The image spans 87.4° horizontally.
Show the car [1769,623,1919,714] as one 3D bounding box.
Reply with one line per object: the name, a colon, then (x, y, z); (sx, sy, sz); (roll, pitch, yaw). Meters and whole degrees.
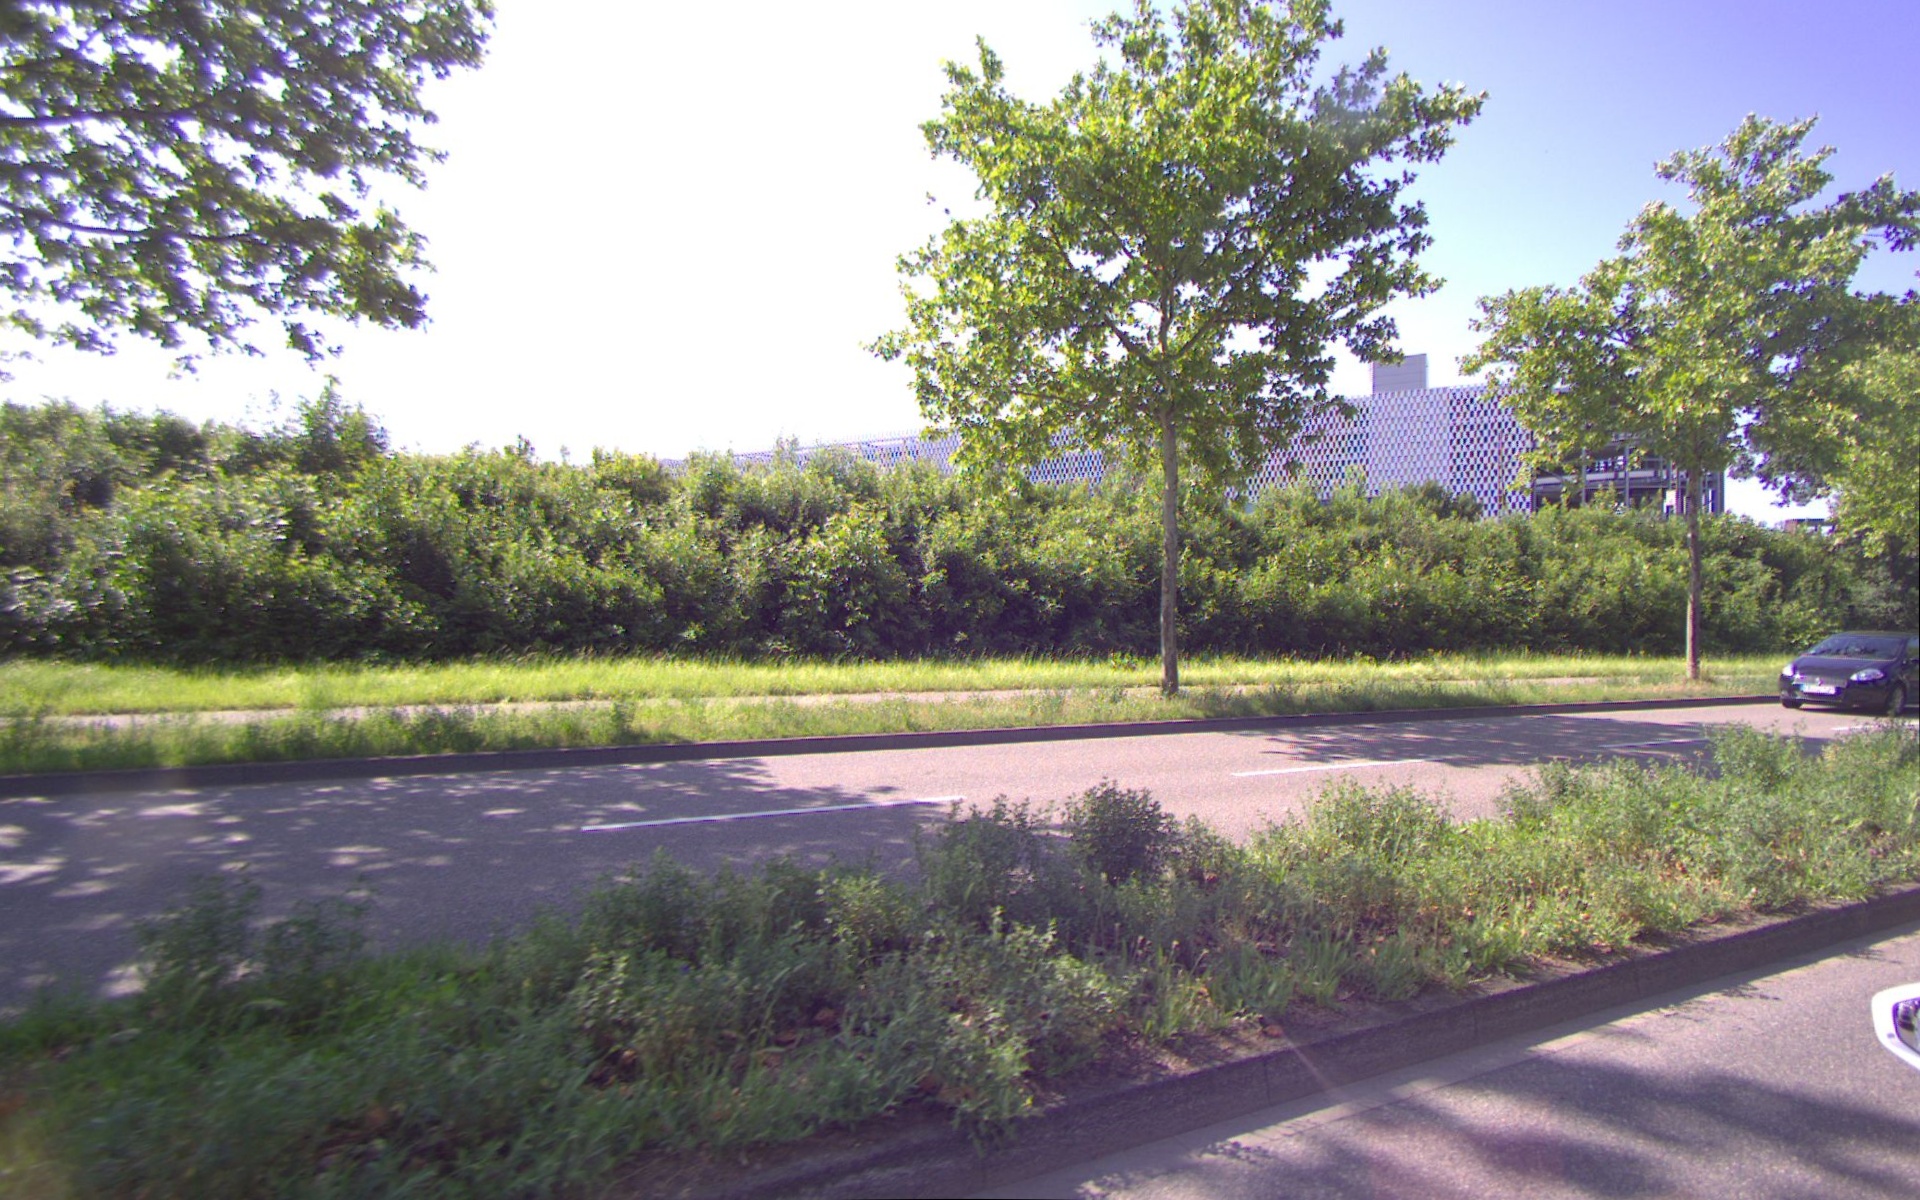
car: (16.924, 1.235, 18.654); (3.879, 1.489, 1.563); (2, 0, -29)
